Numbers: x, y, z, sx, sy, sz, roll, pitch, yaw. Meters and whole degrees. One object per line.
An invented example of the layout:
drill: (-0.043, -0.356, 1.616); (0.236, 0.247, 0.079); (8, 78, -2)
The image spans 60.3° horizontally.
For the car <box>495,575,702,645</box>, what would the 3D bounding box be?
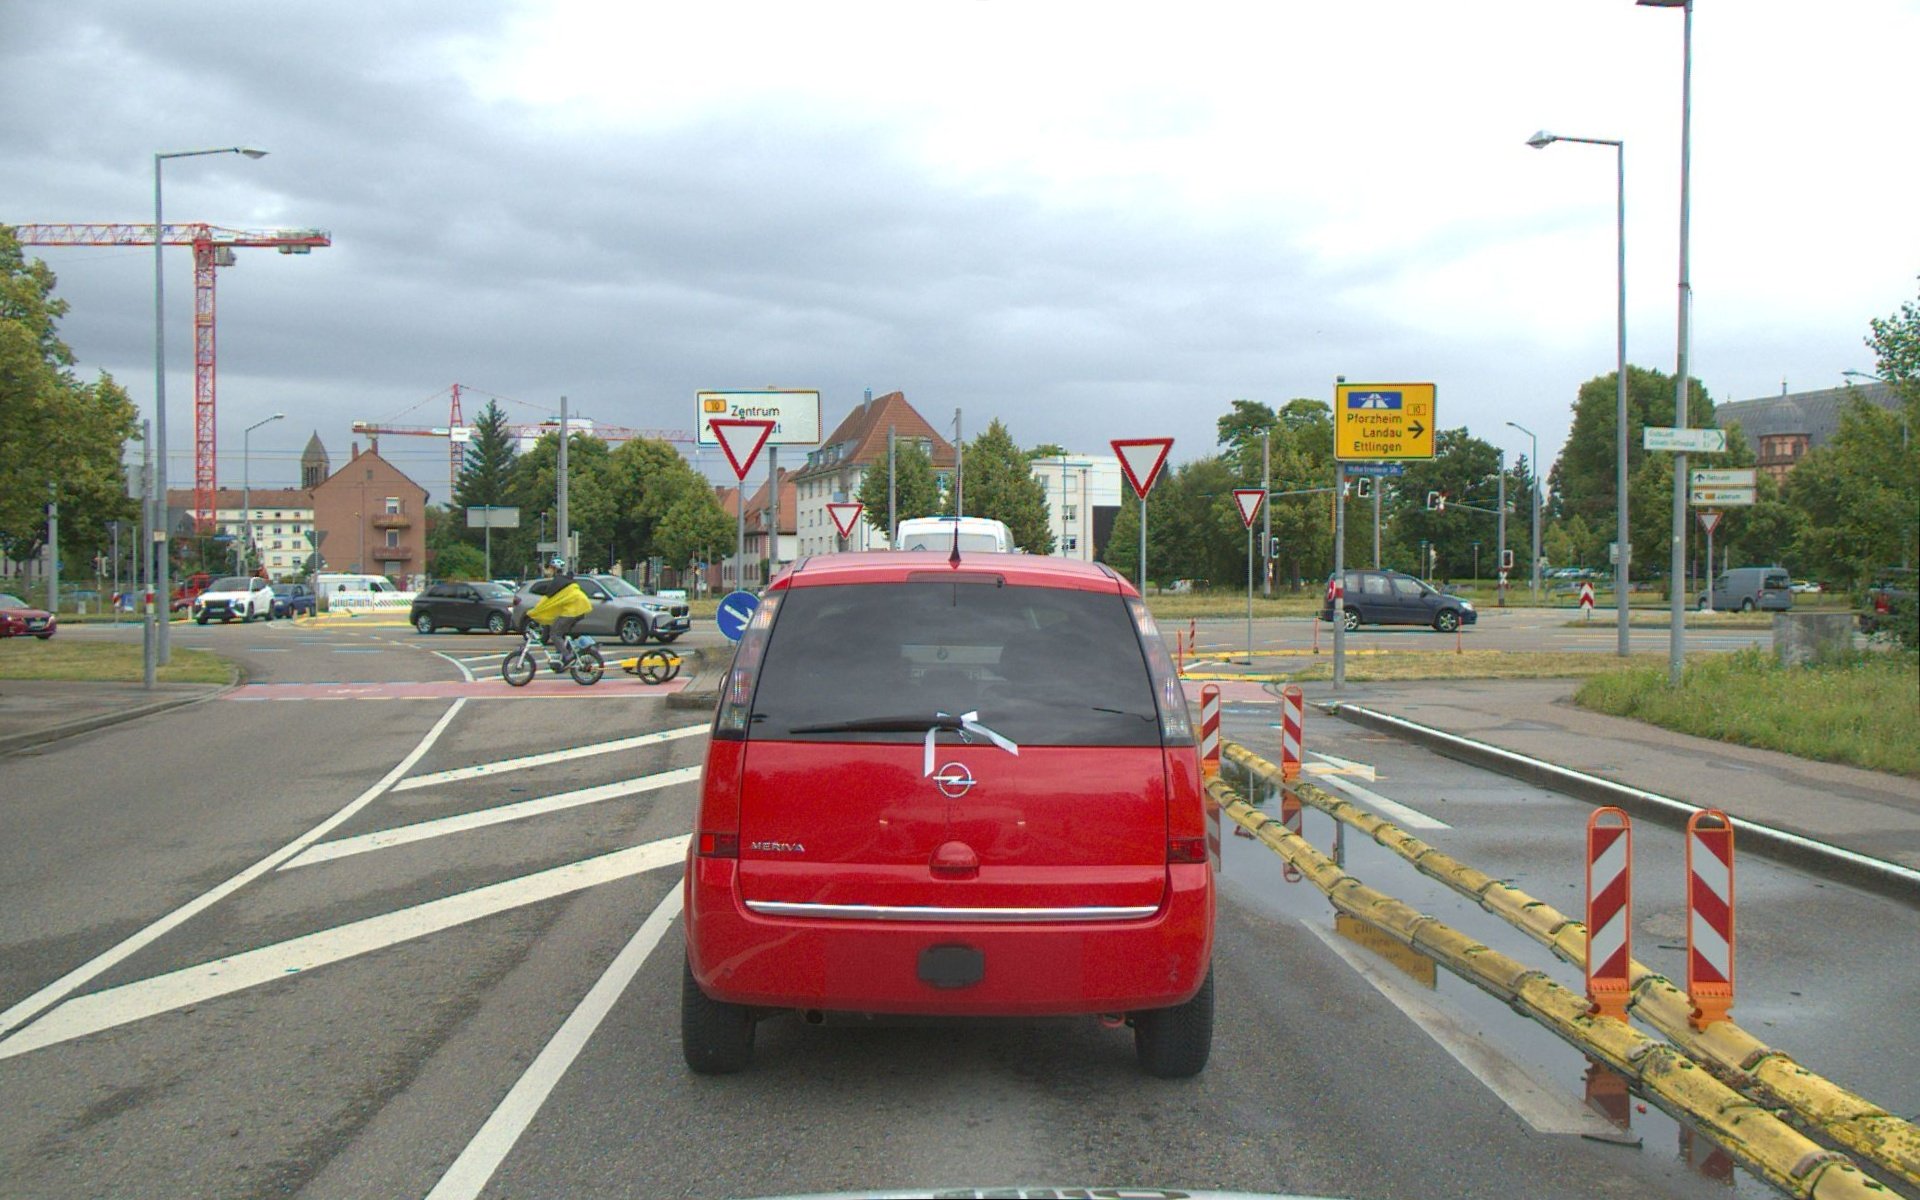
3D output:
car: (-8.647, 0.226, 39.677); (4.421, 1.610, 2.002); (0, 1, 15)

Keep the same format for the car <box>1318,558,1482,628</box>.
car: (11.892, -0.194, 44.951); (4.105, 1.845, 2.080); (0, 1, 10)

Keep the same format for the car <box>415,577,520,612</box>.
car: (-23.912, -0.281, 80.468); (1.961, 1.663, 4.656); (0, 1, 37)

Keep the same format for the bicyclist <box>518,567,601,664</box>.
bicyclist: (-6.026, 0.230, 24.904); (1.039, 1.426, 0.615); (0, 0, 16)

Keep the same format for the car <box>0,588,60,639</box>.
car: (-29.603, 0.391, 50.626); (4.271, 1.489, 1.992); (0, 1, 36)

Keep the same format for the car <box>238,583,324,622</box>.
car: (-27.862, 0.067, 67.989); (1.891, 1.515, 4.000); (-1, 1, -1)

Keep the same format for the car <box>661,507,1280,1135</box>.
car: (0.001, 0.574, 6.248); (1.639, 1.669, 3.627); (1, 1, -1)

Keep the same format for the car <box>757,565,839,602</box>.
car: (-9.227, -0.955, 94.100); (4.395, 2.049, 1.991); (-1, 1, -17)

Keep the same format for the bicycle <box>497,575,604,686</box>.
bicycle: (-6.175, 0.455, 24.946); (1.446, 1.640, 0.606); (0, 0, 15)

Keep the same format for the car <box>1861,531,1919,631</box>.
car: (20.943, -0.392, 33.046); (4.942, 2.006, 2.215); (0, 1, 36)

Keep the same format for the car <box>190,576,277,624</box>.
car: (-26.902, -0.021, 61.342); (1.895, 1.713, 4.181); (-1, 1, -9)

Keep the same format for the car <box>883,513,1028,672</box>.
car: (0.019, -0.163, 29.725); (2.149, 2.584, 4.965); (1, 1, 5)

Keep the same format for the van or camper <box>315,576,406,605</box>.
van or camper: (-44.086, -0.723, 121.603); (6.045, 2.049, 2.002); (0, 1, 10)

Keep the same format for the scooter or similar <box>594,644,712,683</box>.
scooter or similar: (-4.595, 0.948, 24.823); (1.574, 0.513, 0.925); (-1, 1, 2)

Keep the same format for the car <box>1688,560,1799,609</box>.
car: (33.950, -0.687, 71.816); (1.960, 2.049, 4.461); (-1, 1, -14)

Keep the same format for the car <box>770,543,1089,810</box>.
car: (-0.229, 0.463, 12.875); (2.018, 1.676, 4.606); (1, 1, -1)

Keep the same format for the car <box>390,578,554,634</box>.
car: (-13.741, 0.159, 46.556); (4.225, 1.489, 1.997); (0, 1, 28)
